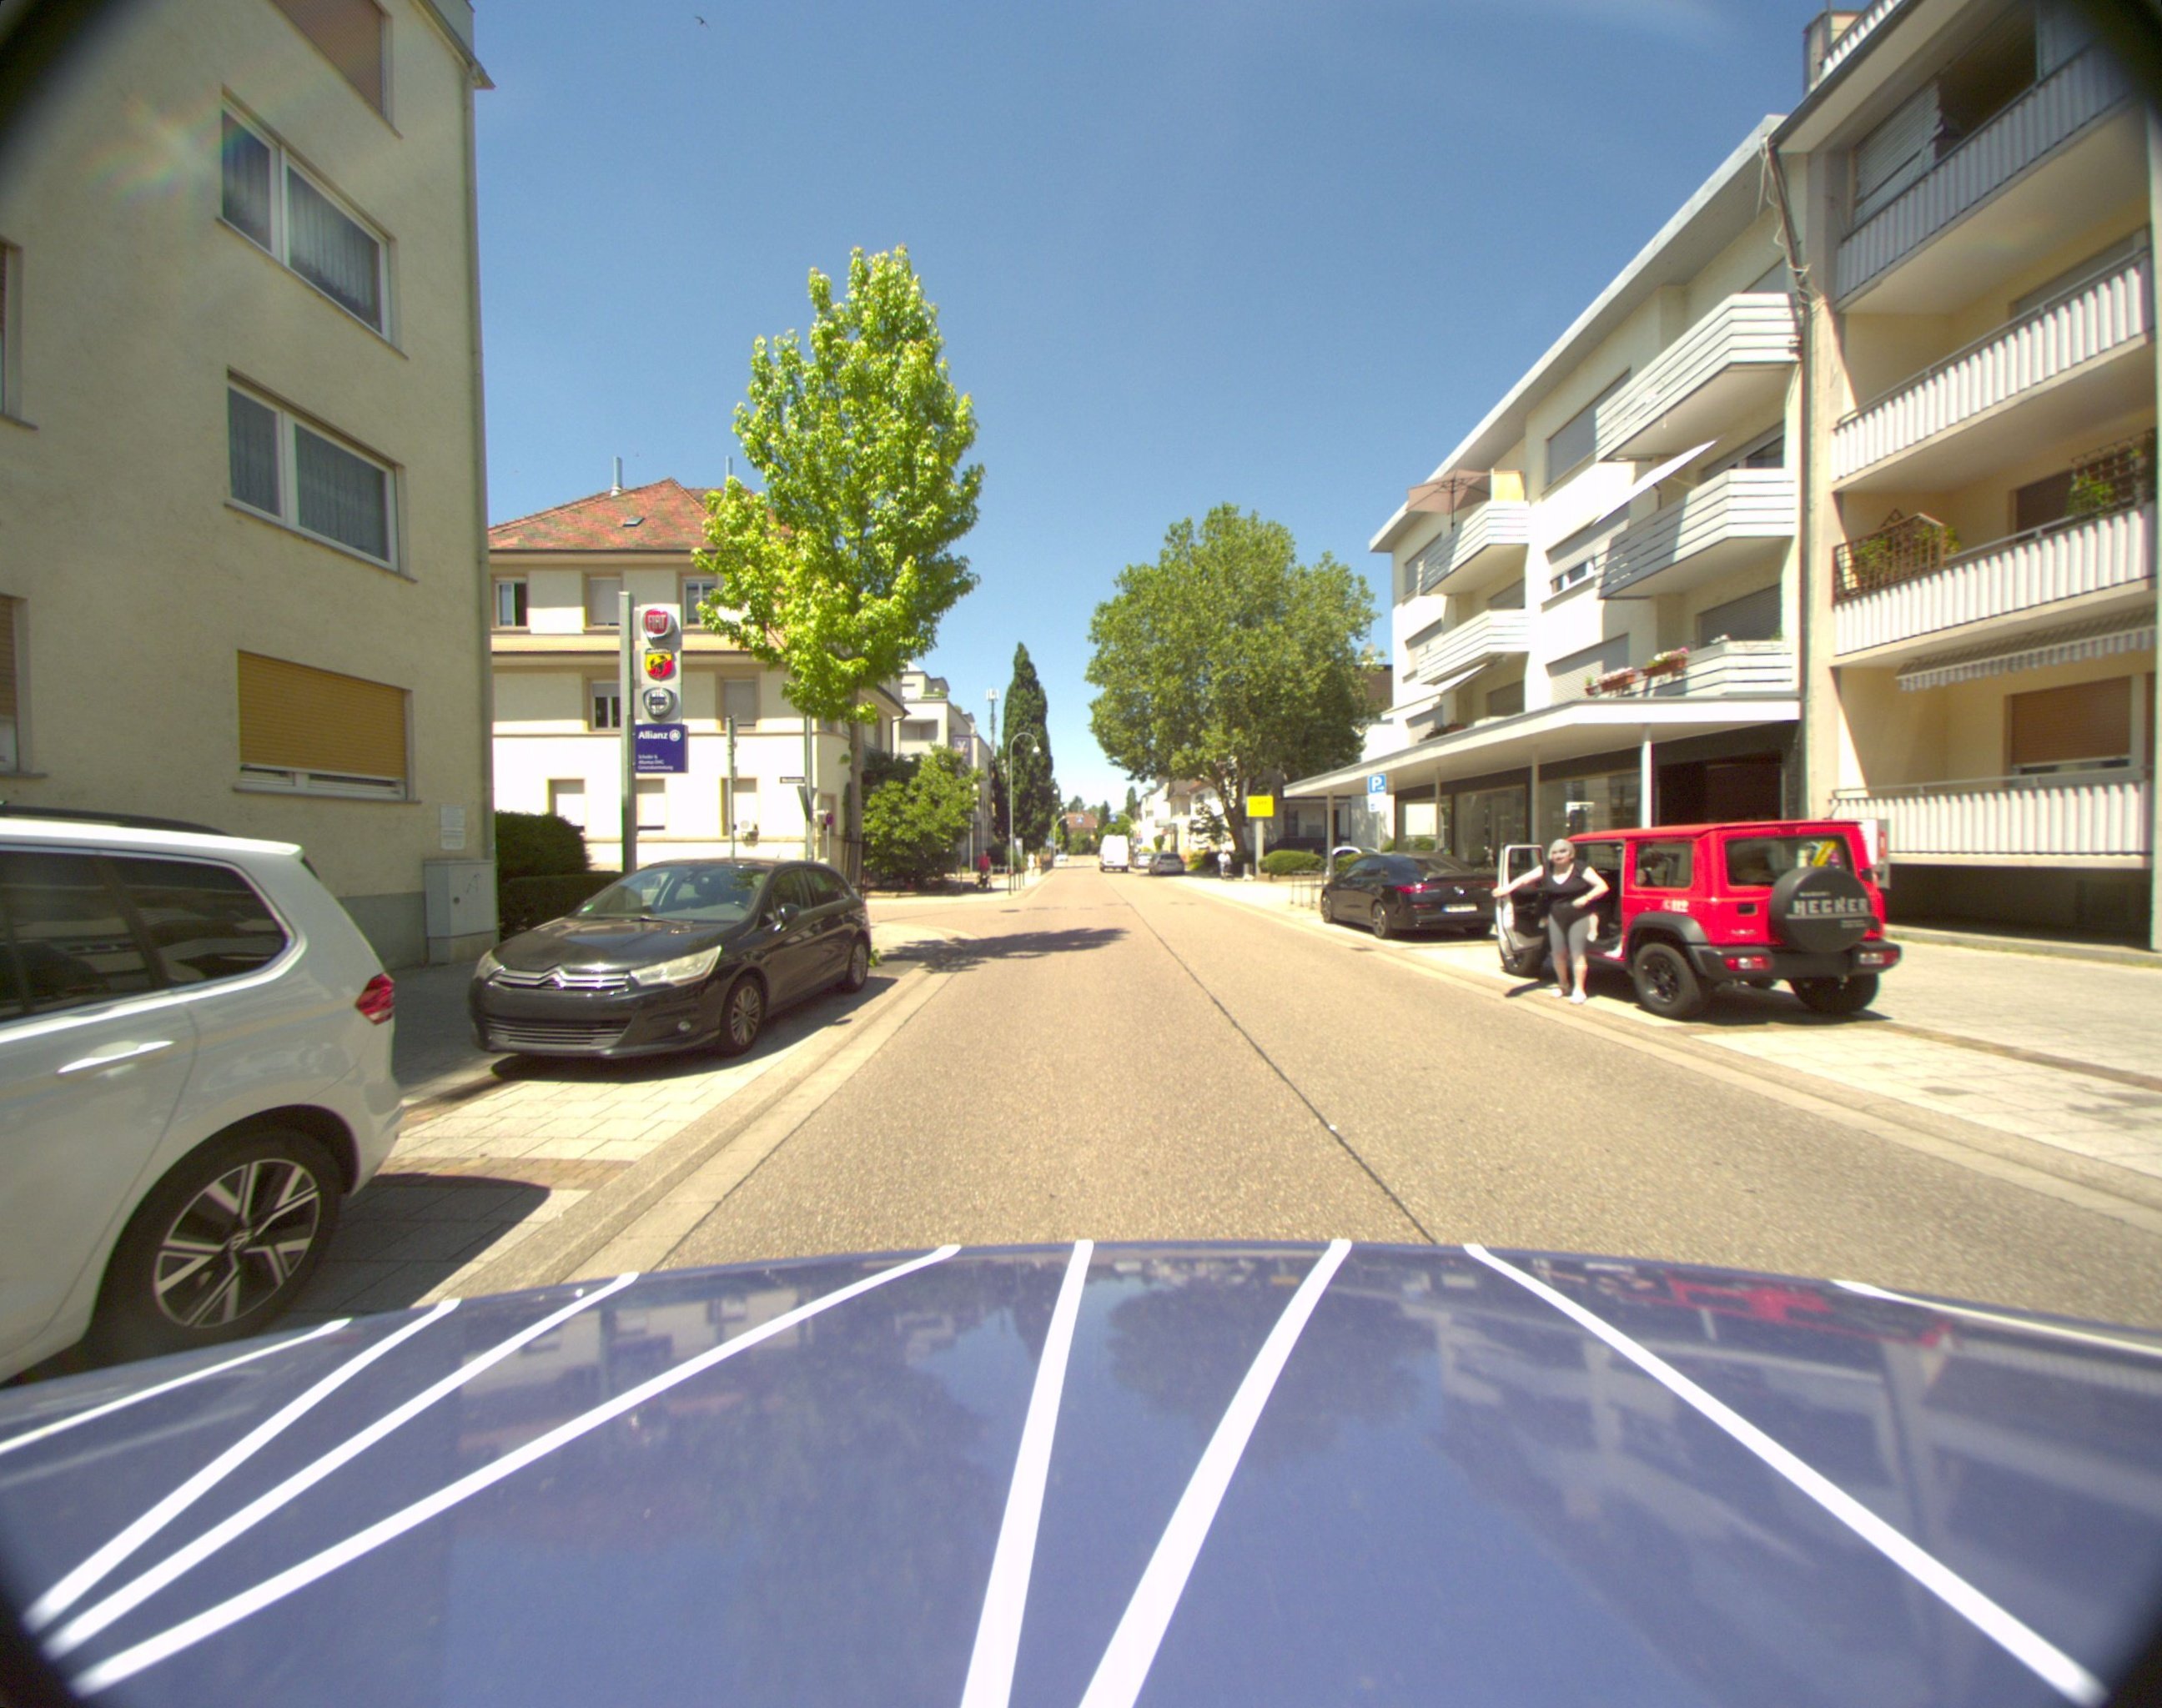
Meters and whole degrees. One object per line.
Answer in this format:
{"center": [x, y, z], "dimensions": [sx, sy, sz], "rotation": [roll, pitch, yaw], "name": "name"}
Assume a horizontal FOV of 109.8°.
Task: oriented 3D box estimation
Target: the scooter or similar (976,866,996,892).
{"center": [-3.668, 0.957, 29.261], "dimensions": [0.665, 0.957, 0.753], "rotation": [1, 1, -1], "name": "scooter or similar"}

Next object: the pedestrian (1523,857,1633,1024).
{"center": [4.890, 0.797, 7.477], "dimensions": [0.730, 1.525, 0.725], "rotation": [-1, 1, -40], "name": "pedestrian"}

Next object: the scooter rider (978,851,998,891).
{"center": [-3.670, 0.652, 29.924], "dimensions": [0.718, 1.540, 0.770], "rotation": [0, 1, -2], "name": "scooter rider"}

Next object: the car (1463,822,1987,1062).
{"center": [5.806, 0.636, 7.673], "dimensions": [1.757, 1.692, 4.100], "rotation": [-3, 1, 0], "name": "car"}

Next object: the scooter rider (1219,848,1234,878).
{"center": [7.618, 0.473, 39.874], "dimensions": [0.590, 1.566, 0.877], "rotation": [-3, 1, 1], "name": "scooter rider"}

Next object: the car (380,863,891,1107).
{"center": [-3.348, 0.851, 7.002], "dimensions": [1.900, 1.430, 4.544], "rotation": [0, 0, 2], "name": "car"}

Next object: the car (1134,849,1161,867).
{"center": [5.803, 0.303, 66.836], "dimensions": [1.986, 1.444, 5.357], "rotation": [-2, 0, 1], "name": "car"}

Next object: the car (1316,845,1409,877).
{"center": [13.835, 0.297, 37.539], "dimensions": [1.900, 1.478, 3.986], "rotation": [-1, 1, -30], "name": "car"}

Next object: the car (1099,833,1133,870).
{"center": [2.586, -0.173, 57.781], "dimensions": [2.042, 2.615, 7.106], "rotation": [1, 0, -1], "name": "car"}

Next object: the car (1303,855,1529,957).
{"center": [5.868, 0.801, 14.150], "dimensions": [1.901, 1.409, 5.047], "rotation": [-3, 1, 0], "name": "car"}

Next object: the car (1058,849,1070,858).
{"center": [-2.754, -0.072, 126.705], "dimensions": [1.920, 1.460, 4.879], "rotation": [0, 1, 0], "name": "car"}

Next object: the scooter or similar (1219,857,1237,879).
{"center": [7.608, 0.717, 39.358], "dimensions": [0.665, 1.092, 1.028], "rotation": [-3, 0, 2], "name": "scooter or similar"}

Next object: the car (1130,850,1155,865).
{"center": [5.853, 0.307, 72.906], "dimensions": [1.947, 1.365, 5.097], "rotation": [-1, 0, 1], "name": "car"}

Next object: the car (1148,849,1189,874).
{"center": [5.582, 0.455, 49.220], "dimensions": [1.986, 1.444, 5.149], "rotation": [-2, 0, -1], "name": "car"}

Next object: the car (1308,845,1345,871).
{"center": [14.763, 0.202, 45.863], "dimensions": [1.809, 1.536, 4.109], "rotation": [0, 1, 13], "name": "car"}

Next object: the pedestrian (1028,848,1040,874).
{"center": [-3.057, 0.455, 49.517], "dimensions": [0.702, 1.617, 0.783], "rotation": [2, 1, -1], "name": "pedestrian"}

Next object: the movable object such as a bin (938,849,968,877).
{"center": [-7.158, 0.504, 42.701], "dimensions": [1.371, 1.450, 1.380], "rotation": [2, 1, 2], "name": "movable object such as a bin"}

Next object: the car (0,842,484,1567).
{"center": [-3.410, 0.811, 0.860], "dimensions": [1.901, 1.665, 4.689], "rotation": [1, 0, -2], "name": "car"}
